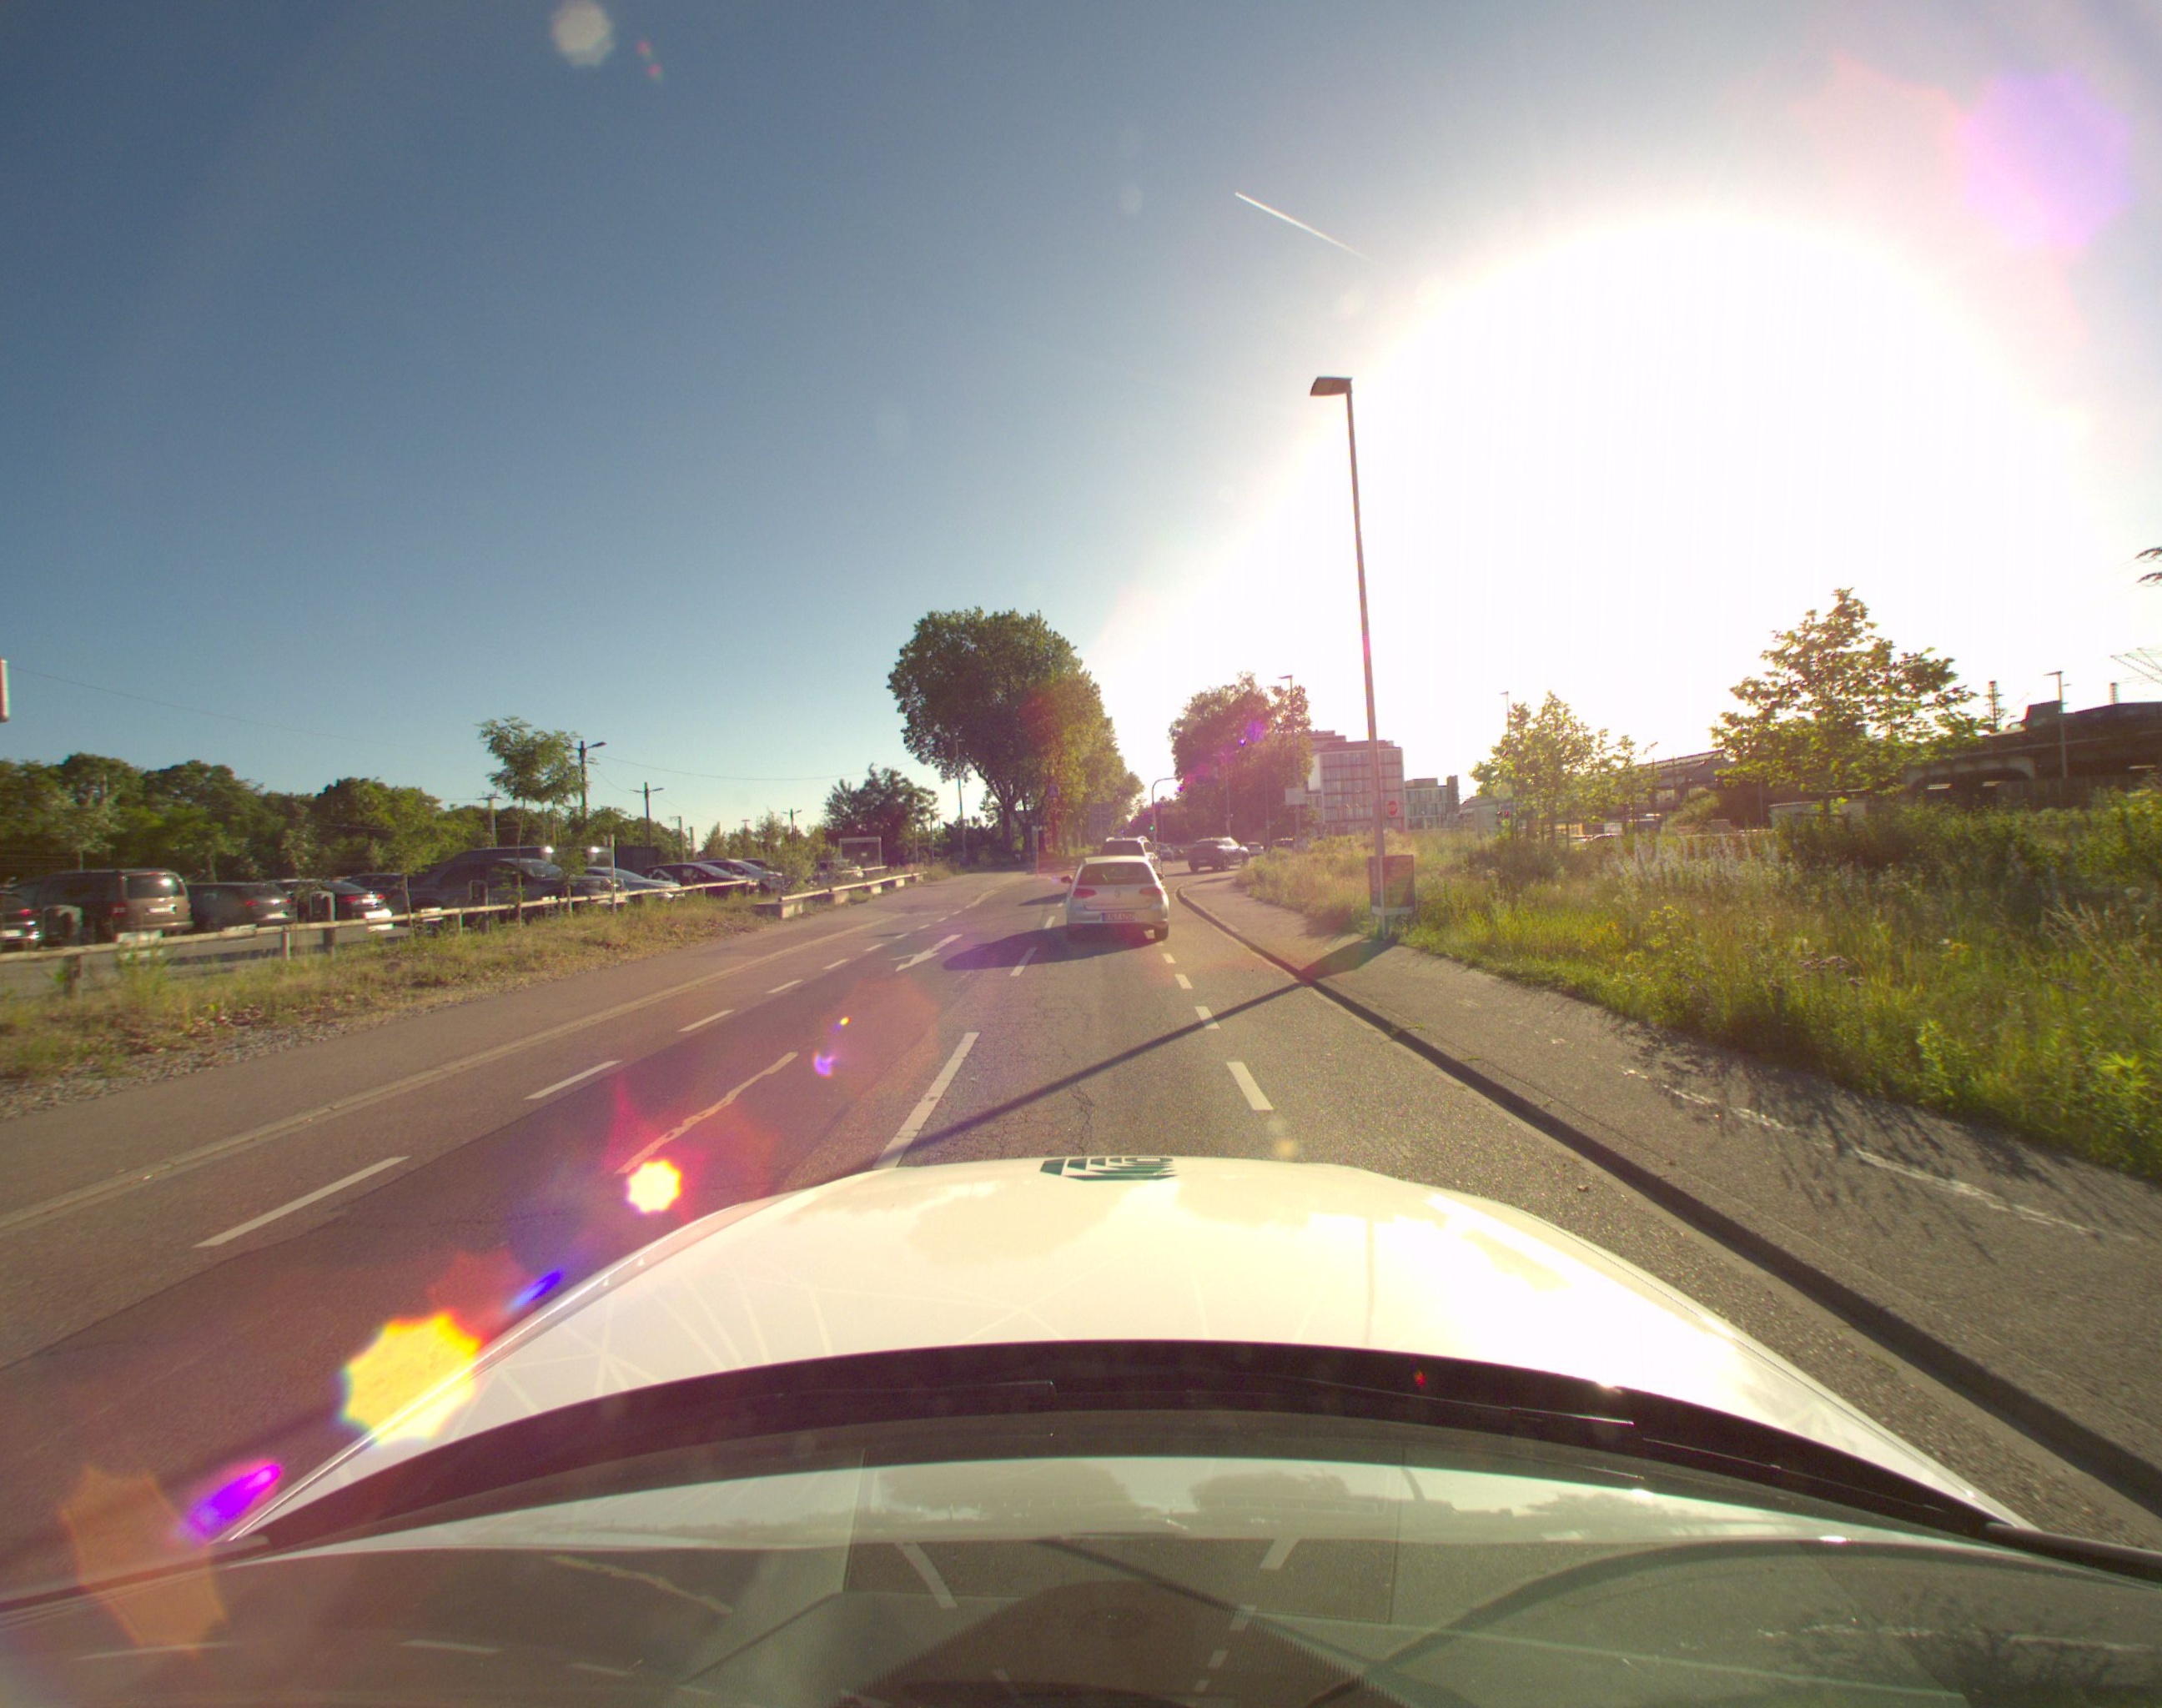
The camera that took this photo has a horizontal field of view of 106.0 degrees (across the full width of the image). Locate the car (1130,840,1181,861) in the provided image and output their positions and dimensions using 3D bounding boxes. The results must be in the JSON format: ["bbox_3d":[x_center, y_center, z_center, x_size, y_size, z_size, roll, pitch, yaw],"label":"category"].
[{"bbox_3d":[6.140,-0.282,67.574,2.009,1.596,3.956,-2,0,-36],"label":"car"}]

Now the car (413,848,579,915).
[{"bbox_3d":[-23.524,1.062,32.893,4.910,2.459,2.319,-2,0,0],"label":"car"}]

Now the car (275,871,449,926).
[{"bbox_3d":[-24.468,1.480,27.819,4.194,1.618,1.878,-2,0,0],"label":"car"}]

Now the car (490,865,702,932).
[{"bbox_3d":[-13.264,1.191,22.513,4.579,1.557,2.000,-2,0,0],"label":"car"}]

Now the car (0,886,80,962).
[{"bbox_3d":[-24.512,1.562,17.379,3.870,1.520,1.878,-2,0,0],"label":"car"}]

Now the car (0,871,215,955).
[{"bbox_3d":[-24.487,1.428,20.013,4.308,1.791,1.878,-2,0,0],"label":"car"}]

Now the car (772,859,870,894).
[{"bbox_3d":[-13.363,1.133,42.034,4.411,1.557,1.878,-2,0,0],"label":"car"}]

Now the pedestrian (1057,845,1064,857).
[{"bbox_3d":[-2.389,-0.315,95.410,0.676,1.415,0.684,-2,0,1],"label":"pedestrian"}]

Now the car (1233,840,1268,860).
[{"bbox_3d":[16.861,-0.365,81.289,1.994,1.860,3.984,-2,-1,-11],"label":"car"}]

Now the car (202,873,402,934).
[{"bbox_3d":[-24.059,1.502,25.271,4.308,1.618,1.878,-2,0,0],"label":"car"}]

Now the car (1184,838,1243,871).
[{"bbox_3d":[6.793,-0.015,41.332,1.897,1.529,4.431,-2,0,23],"label":"car"}]

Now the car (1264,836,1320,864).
[{"bbox_3d":[13.304,-0.259,51.178,1.880,1.596,4.026,-2,0,39],"label":"car"}]

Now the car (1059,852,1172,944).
[{"bbox_3d":[0.640,0.705,15.216,1.783,1.420,4.003,-2,0,2],"label":"car"}]

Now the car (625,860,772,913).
[{"bbox_3d":[-13.019,1.087,27.930,4.075,1.557,1.878,-2,0,0],"label":"car"}]

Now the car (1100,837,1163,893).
[{"bbox_3d":[1.886,0.338,28.955,1.809,1.768,4.640,-2,0,8],"label":"car"}]

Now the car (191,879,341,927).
[{"bbox_3d":[-30.814,1.819,30.848,3.972,1.594,1.707,-2,-1,1],"label":"car"}]

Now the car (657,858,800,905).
[{"bbox_3d":[-13.218,1.009,30.738,4.527,1.557,1.878,-2,0,0],"label":"car"}]

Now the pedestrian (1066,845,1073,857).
[{"bbox_3d":[-1.347,-0.354,95.218,0.676,1.415,0.684,-2,0,1],"label":"pedestrian"}]

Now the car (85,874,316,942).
[{"bbox_3d":[-24.458,1.473,22.747,4.308,1.618,1.878,-2,0,0],"label":"car"}]

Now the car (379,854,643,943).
[{"bbox_3d":[-13.503,1.011,19.536,4.829,1.834,2.000,-2,0,0],"label":"car"}]

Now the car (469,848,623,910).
[{"bbox_3d":[-23.248,1.043,35.562,5.080,2.459,2.319,-2,0,0],"label":"car"}]
